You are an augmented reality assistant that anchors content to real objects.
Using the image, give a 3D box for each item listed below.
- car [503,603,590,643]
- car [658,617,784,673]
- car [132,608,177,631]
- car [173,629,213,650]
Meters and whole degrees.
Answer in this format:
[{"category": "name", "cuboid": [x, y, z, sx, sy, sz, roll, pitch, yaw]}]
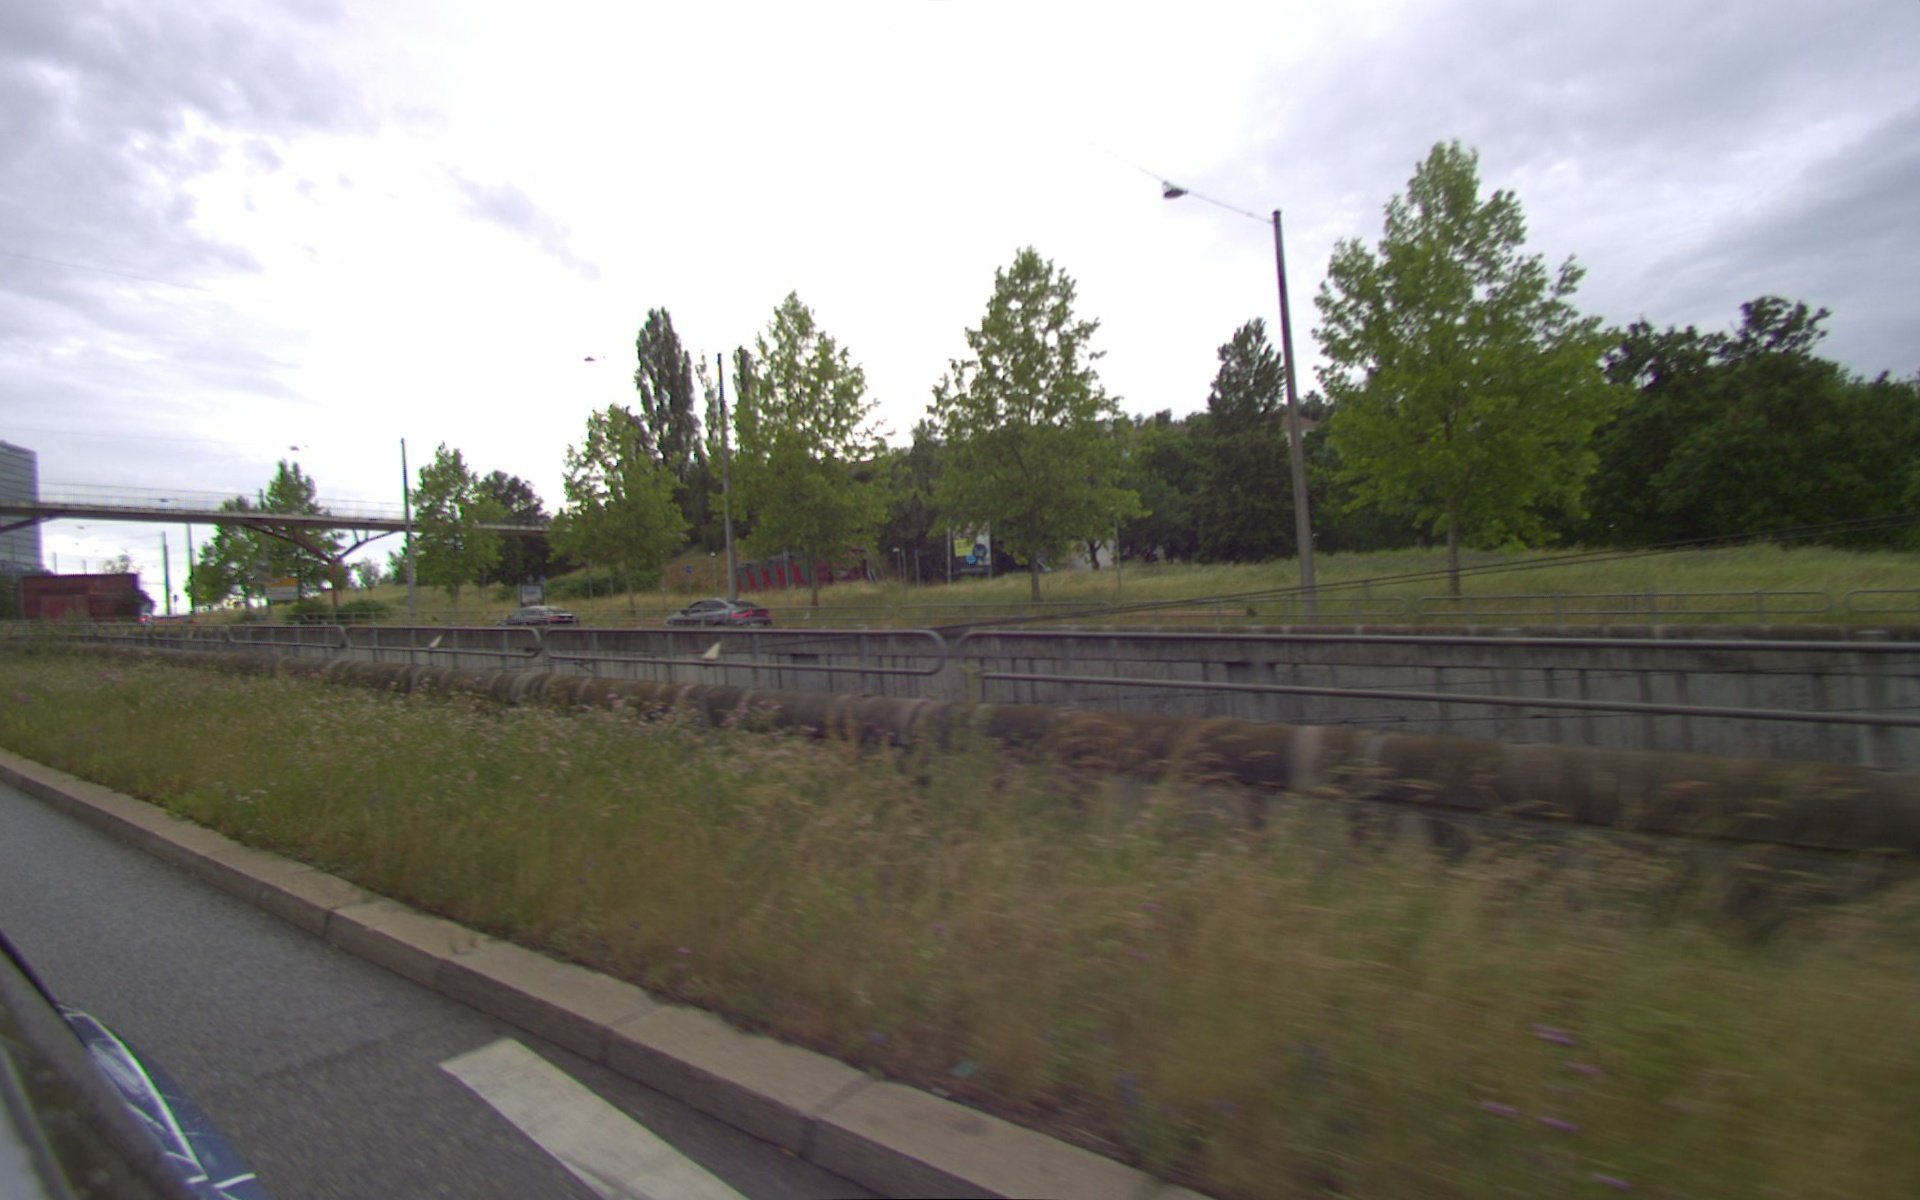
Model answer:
[{"category": "car", "cuboid": [-18.318, 1.037, 44.819, 3.968, 1.653, 1.872, -2, 0, 39]}, {"category": "car", "cuboid": [-8.238, 1.515, 34.688, 4.353, 1.656, 1.873, -2, 3, 39]}, {"category": "car", "cuboid": [-59.969, 1.474, 75.309, 4.430, 1.539, 1.640, -3, 0, 39]}, {"category": "car", "cuboid": [-65.589, 3.399, 86.542, 3.783, 1.585, 1.643, -2, 3, 36]}]
